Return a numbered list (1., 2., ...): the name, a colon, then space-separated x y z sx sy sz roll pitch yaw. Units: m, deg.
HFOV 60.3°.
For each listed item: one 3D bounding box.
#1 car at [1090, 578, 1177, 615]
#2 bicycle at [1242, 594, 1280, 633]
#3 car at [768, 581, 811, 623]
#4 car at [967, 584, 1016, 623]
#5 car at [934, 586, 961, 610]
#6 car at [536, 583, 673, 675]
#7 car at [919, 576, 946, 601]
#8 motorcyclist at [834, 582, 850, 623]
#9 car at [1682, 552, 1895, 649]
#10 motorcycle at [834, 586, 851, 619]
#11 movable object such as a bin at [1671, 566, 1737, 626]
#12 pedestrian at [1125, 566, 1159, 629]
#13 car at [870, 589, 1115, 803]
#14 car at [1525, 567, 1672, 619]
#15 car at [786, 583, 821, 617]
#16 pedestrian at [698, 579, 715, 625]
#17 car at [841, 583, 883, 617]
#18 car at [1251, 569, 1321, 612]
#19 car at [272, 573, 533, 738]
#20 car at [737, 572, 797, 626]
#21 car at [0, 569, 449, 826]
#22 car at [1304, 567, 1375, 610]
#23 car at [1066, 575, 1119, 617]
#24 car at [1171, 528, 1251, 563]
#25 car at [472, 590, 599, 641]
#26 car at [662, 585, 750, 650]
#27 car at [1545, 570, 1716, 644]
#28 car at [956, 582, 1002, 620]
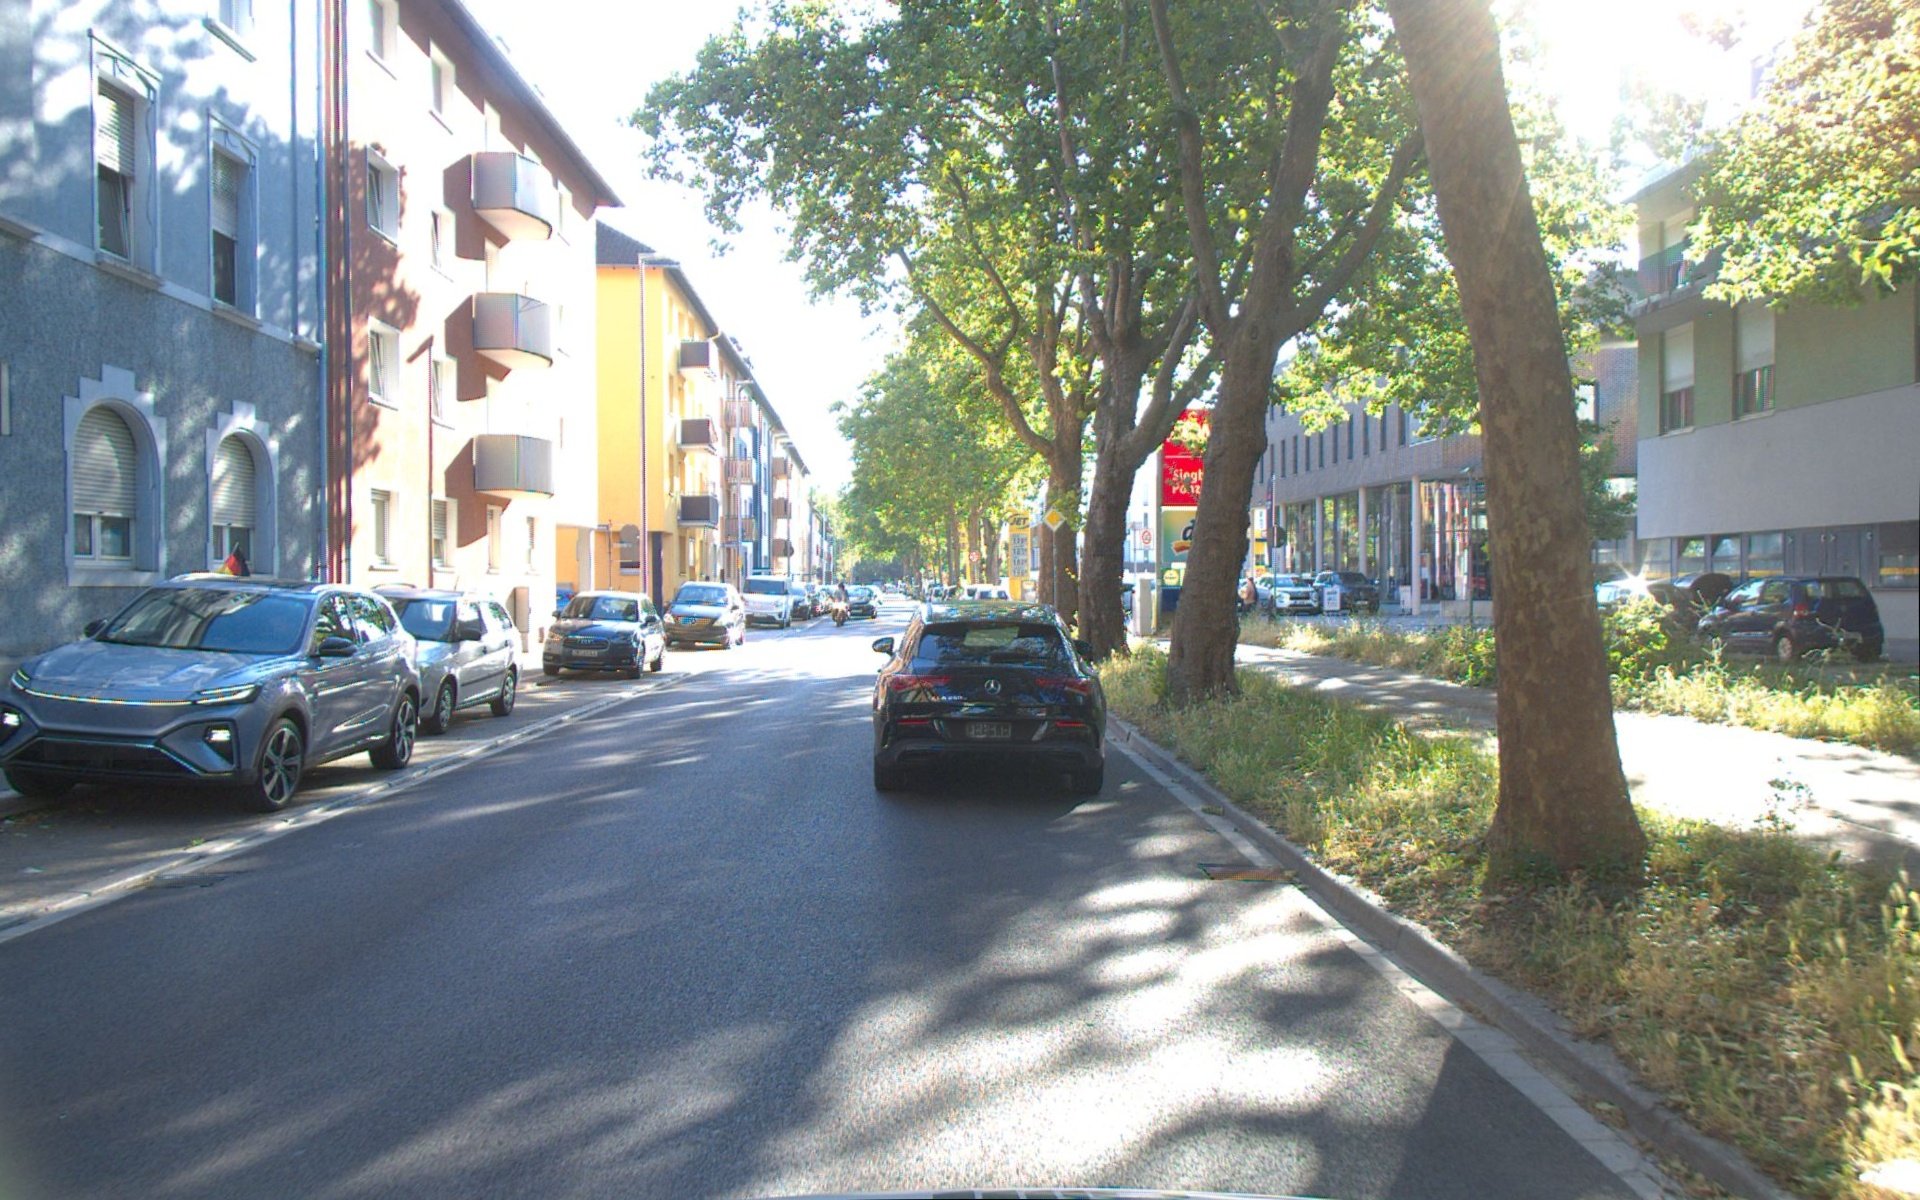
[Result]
1. car: 7.865 -0.162 74.881 3.777 1.572 1.642 -1 1 -36
2. bicycle: 8.263 0.362 45.467 0.377 1.021 1.479 -1 0 -18
3. car: -7.691 0.043 75.020 1.710 1.819 4.546 1 1 -3
4. car: 1.252 0.136 66.888 1.602 1.493 4.018 -2 0 -3
5. car: -0.866 -0.159 114.364 1.688 1.584 3.598 1 0 -3
6. car: -6.254 0.470 29.452 1.643 1.512 3.601 1 1 0
7. car: -2.317 -0.955 139.737 1.955 2.049 3.995 0 -1 -6
8. motorcyclist: -4.651 0.092 65.439 0.574 1.633 0.831 -1 0 -2
9. car: 14.562 -0.020 29.298 1.821 1.580 3.759 -1 1 -1
10. motorcycle: -4.660 0.103 65.505 0.536 1.263 2.263 -3 0 -2
11. movable object such as a bin: 18.657 -0.105 41.517 1.167 1.488 1.408 -1 0 10
12. pedestrian: 5.261 -0.071 47.853 0.754 1.792 0.662 -2 0 -12
13. car: 0.280 0.663 13.697 1.708 1.468 3.970 1 1 1
14. car: 22.461 -0.265 58.267 4.395 1.691 2.029 -2 1 -5
15. car: -7.852 -0.028 83.324 1.565 1.669 4.409 1 1 -3
16. pedestrian: -10.165 0.080 66.407 0.575 1.821 0.642 -1 0 -1
17. car: -4.532 -0.022 76.967 1.735 1.504 4.321 -1 1 -1
18. car: 13.769 -0.410 70.034 1.839 1.764 4.177 -1 1 -4
19. car: -6.258 0.550 19.025 1.643 1.670 3.984 1 1 0
20. car: -7.236 -0.063 62.449 1.699 1.940 5.208 0 1 0
21. car: -5.734 0.621 13.216 1.869 1.670 4.577 1 1 0
22. car: 15.974 -0.494 69.874 1.945 1.764 4.179 -1 1 -1
23. car: 5.569 -0.190 69.727 1.717 1.699 4.156 -1 1 -2
24. car: 11.951 -2.592 78.690 3.780 1.537 1.621 -2 1 -38
25. car: -13.917 0.491 54.396 3.707 1.594 1.748 -1 0 -1
26. car: -6.466 0.413 42.428 1.643 1.550 4.021 1 1 0
27. car: 14.415 0.119 35.808 1.822 1.494 4.121 -1 1 -3
28. car: 0.817 0.047 73.706 1.774 1.565 4.582 -3 0 -1
